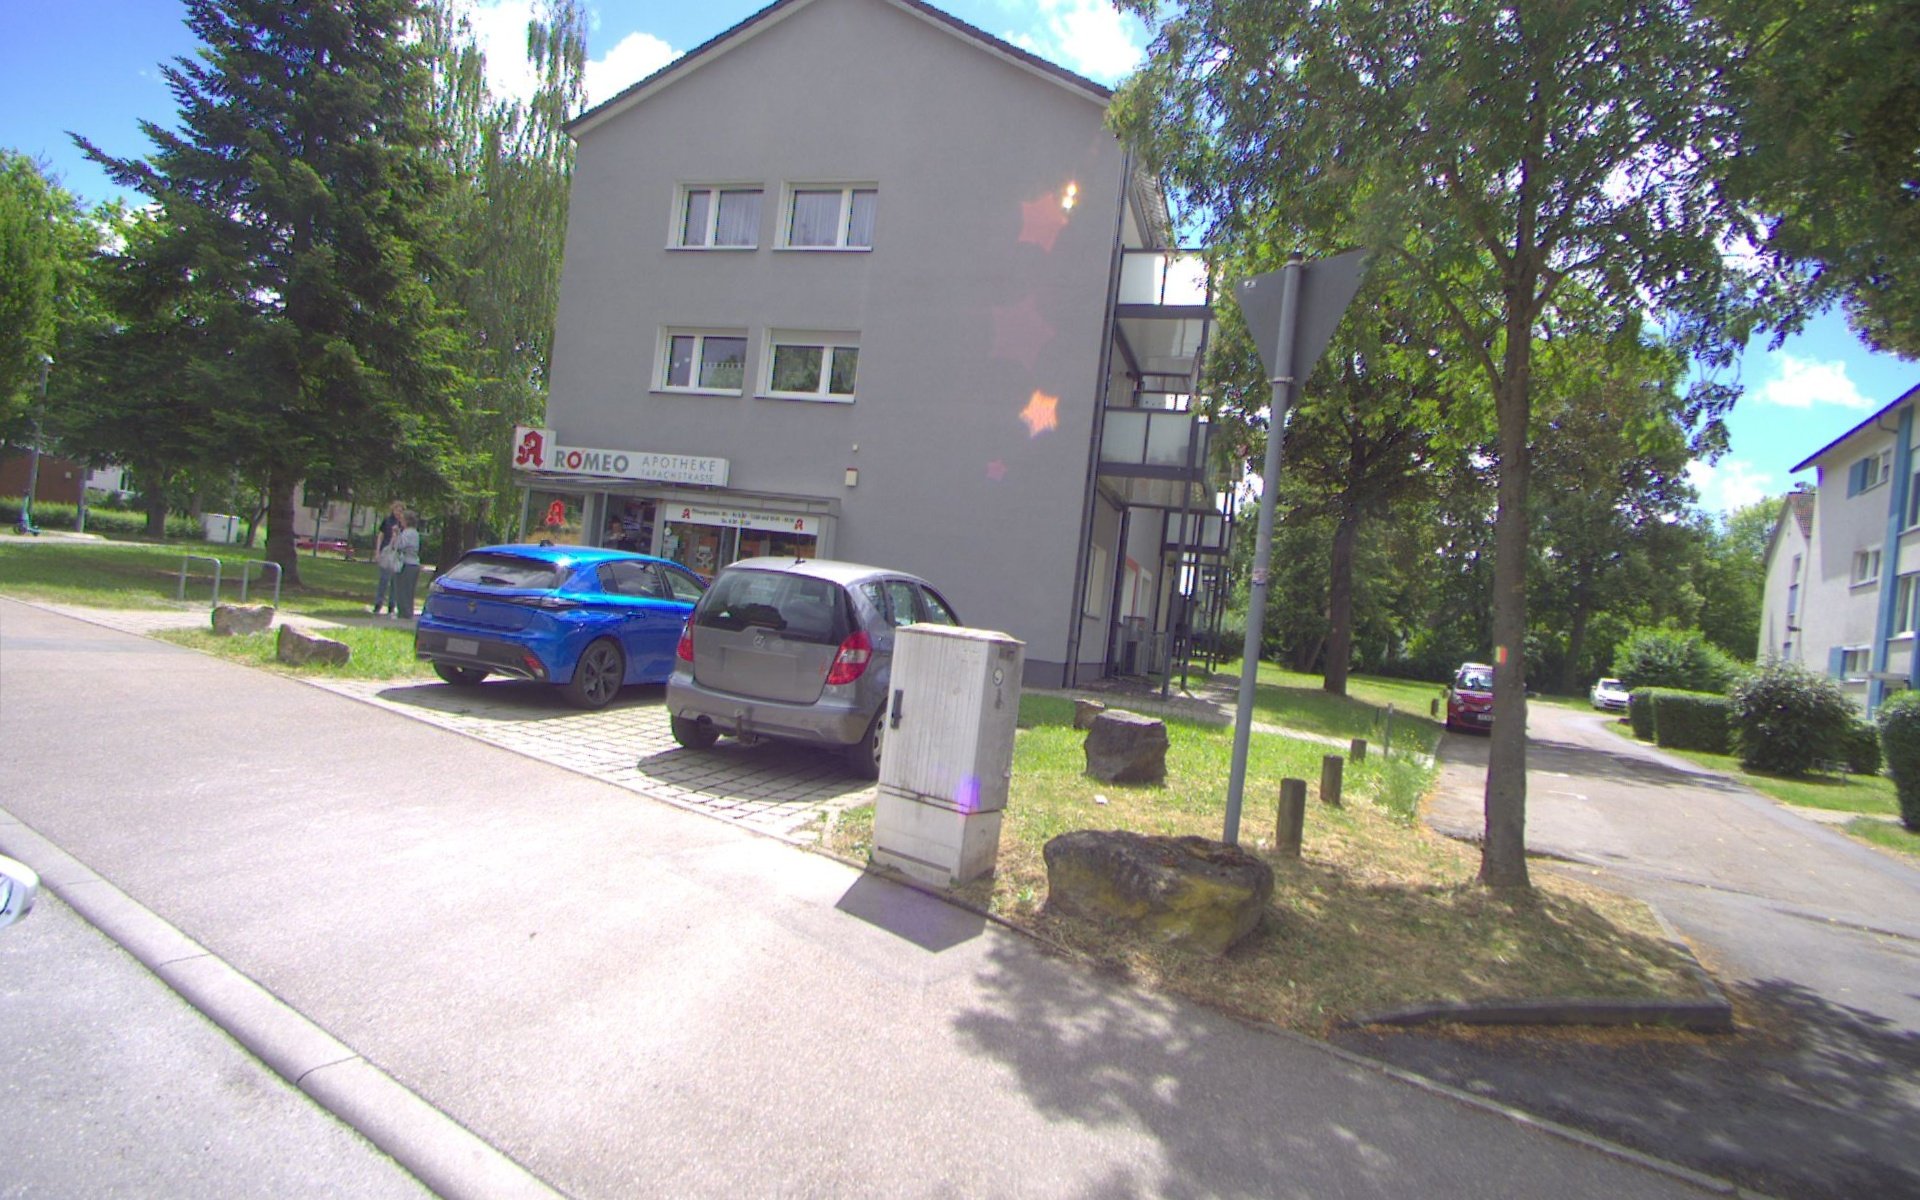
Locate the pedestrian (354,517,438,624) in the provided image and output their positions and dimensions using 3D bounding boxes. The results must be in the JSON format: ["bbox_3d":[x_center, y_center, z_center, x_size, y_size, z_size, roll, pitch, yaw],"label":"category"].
[{"bbox_3d":[-8.758,-0.452,15.634,0.678,1.549,0.744,7,1,22],"label":"pedestrian"}]

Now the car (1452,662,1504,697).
[{"bbox_3d":[25.388,3.909,49.212,1.966,1.328,3.996,6,-3,31],"label":"car"}]

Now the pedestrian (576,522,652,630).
[{"bbox_3d":[-6.721,-0.447,19.587,0.924,1.981,0.843,7,1,11],"label":"pedestrian"}]

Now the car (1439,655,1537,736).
[{"bbox_3d":[12.423,2.260,23.562,1.702,1.519,3.878,6,-2,31],"label":"car"}]

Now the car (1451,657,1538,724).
[{"bbox_3d":[15.084,2.522,28.563,1.884,1.522,3.996,7,0,26],"label":"car"}]

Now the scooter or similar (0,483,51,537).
[{"bbox_3d":[-25.551,-2.438,27.521,0.479,1.360,1.381,6,1,-22],"label":"scooter or similar"}]

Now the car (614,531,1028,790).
[{"bbox_3d":[-0.941,0.418,8.874,1.994,1.577,3.738,7,2,19],"label":"car"}]

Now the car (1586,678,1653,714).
[{"bbox_3d":[30.404,4.464,46.483,1.965,1.328,4.000,7,-2,26],"label":"car"}]

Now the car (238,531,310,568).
[{"bbox_3d":[-49.045,-3.592,71.965,3.924,1.964,2.002,7,-2,15],"label":"car"}]

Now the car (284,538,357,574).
[{"bbox_3d":[-45.003,-3.091,70.817,3.924,1.964,2.021,7,-2,15],"label":"car"}]

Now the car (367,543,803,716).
[{"bbox_3d":[-3.644,0.243,10.817,1.962,1.260,4.494,7,2,18],"label":"car"}]

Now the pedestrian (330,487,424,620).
[{"bbox_3d":[-9.578,-0.759,16.534,1.027,2.039,0.656,7,1,18],"label":"pedestrian"}]
